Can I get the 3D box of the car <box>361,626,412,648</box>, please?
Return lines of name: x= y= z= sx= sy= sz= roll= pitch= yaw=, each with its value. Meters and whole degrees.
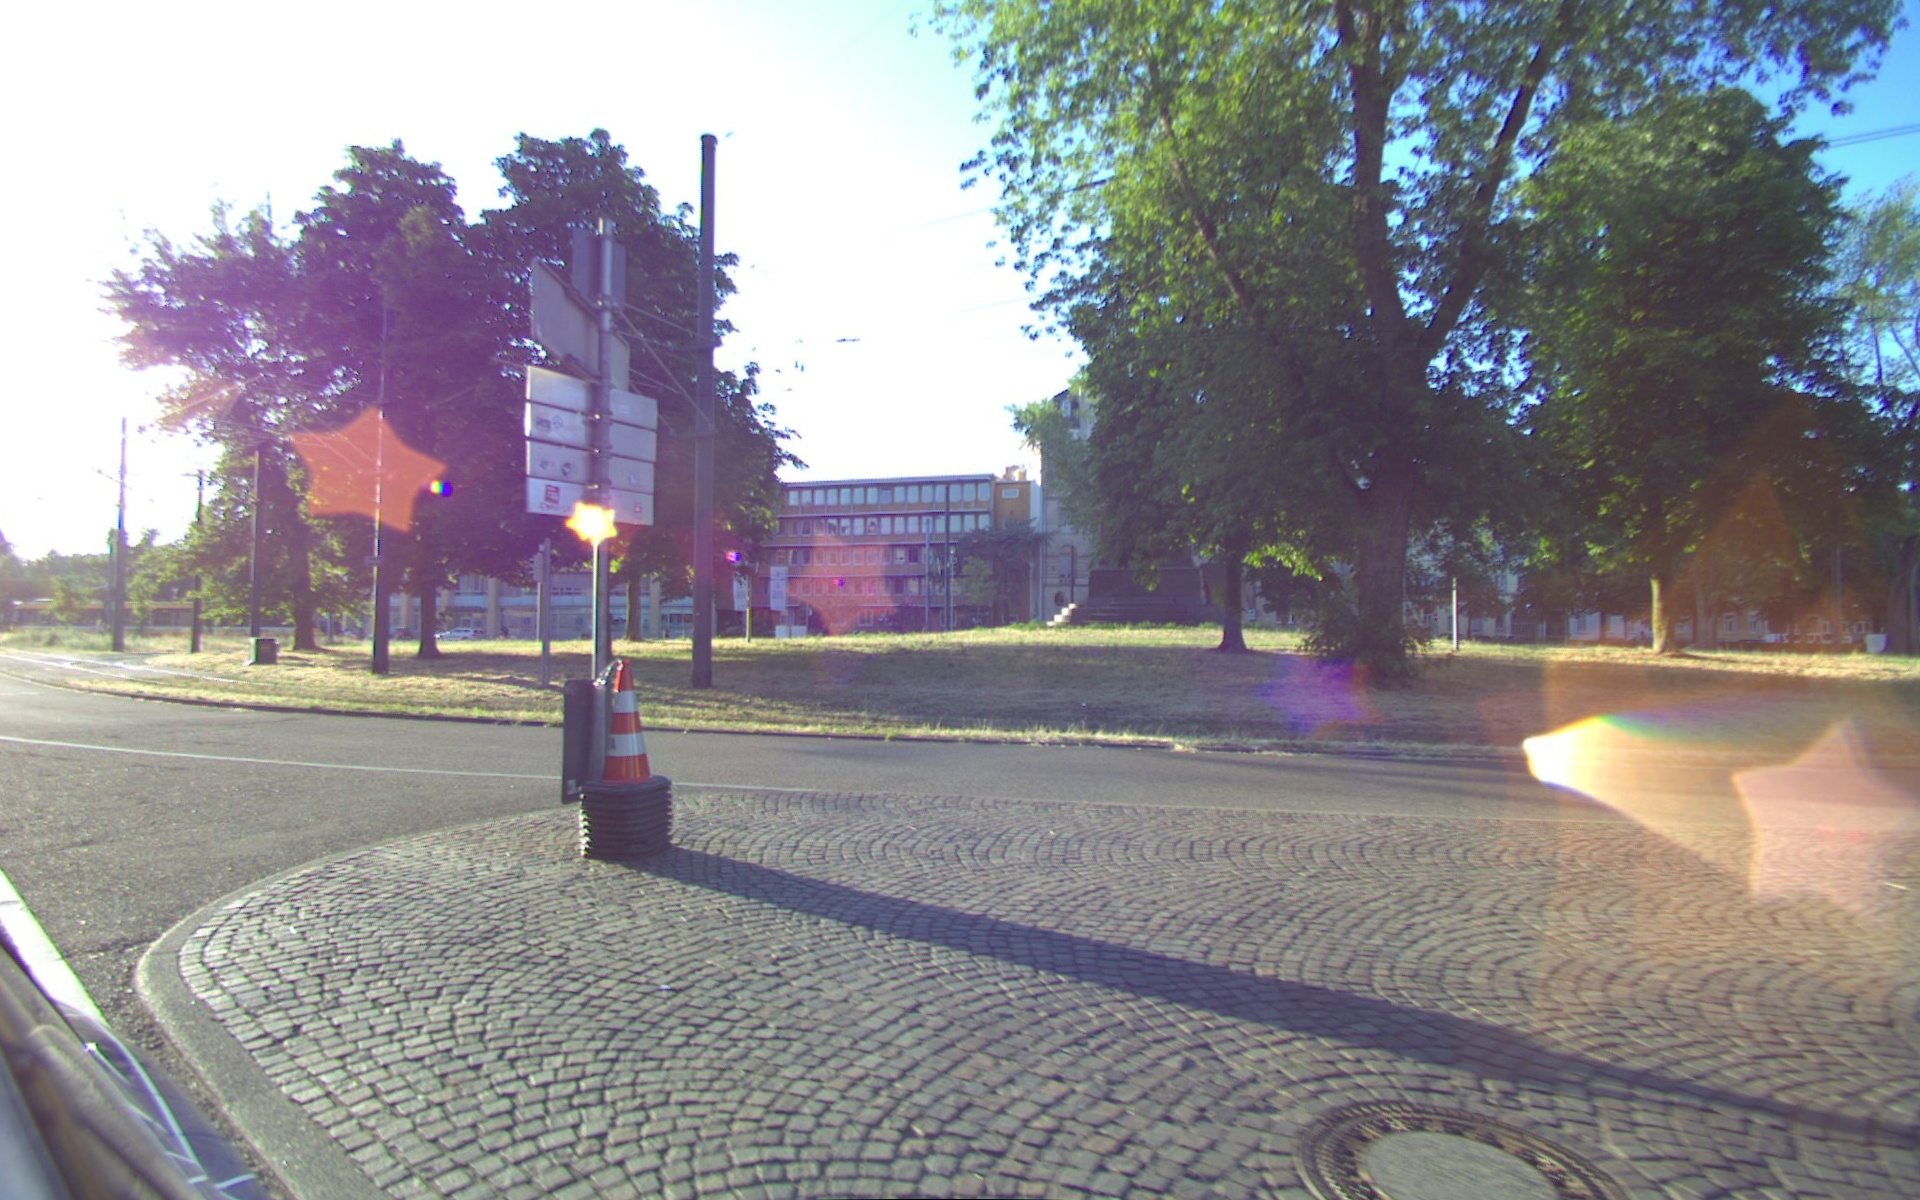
car: x=-54.767 y=3.565 z=96.664 sx=3.957 sy=2.029 sz=1.904 roll=-1 pitch=-1 yaw=11

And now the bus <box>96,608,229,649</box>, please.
bus: x=-69.416 y=2.493 z=88.117 sx=10.644 sy=3.356 sz=3.740 roll=-1 pitch=-1 yaw=17

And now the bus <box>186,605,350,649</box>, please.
bus: x=-57.803 y=2.260 z=84.502 sx=13.596 sy=3.388 sz=3.739 roll=-1 pitch=-1 yaw=17

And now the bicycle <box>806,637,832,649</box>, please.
bicycle: x=-11.969 y=3.633 z=85.846 sx=2.167 sy=1.019 sz=0.473 roll=-1 pitch=-1 yaw=-5

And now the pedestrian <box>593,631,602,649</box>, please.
pedestrian: x=-33.752 y=3.716 z=94.138 sx=0.614 sy=1.705 sz=0.527 roll=-1 pitch=-1 yaw=23

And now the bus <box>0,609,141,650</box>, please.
bus: x=-80.308 y=2.643 z=91.344 sx=12.024 sy=3.482 sz=3.741 roll=-1 pitch=-1 yaw=16

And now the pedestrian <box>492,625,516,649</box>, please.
pedestrian: x=-40.873 y=3.353 z=90.697 sx=1.616 sy=2.110 sz=1.056 roll=-1 pitch=-1 yaw=12

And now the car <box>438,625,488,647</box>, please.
car: x=-46.451 y=3.343 z=94.648 sx=3.869 sy=2.029 sz=1.849 roll=-1 pitch=-1 yaw=11

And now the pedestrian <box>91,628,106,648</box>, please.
pedestrian: x=-62.281 y=2.741 z=73.161 sx=0.698 sy=1.470 sz=0.664 roll=-2 pitch=-2 yaw=37

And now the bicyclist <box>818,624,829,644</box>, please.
bicyclist: x=-11.550 y=2.888 z=85.867 sx=0.884 sy=1.703 sz=0.954 roll=-1 pitch=-1 yaw=-5

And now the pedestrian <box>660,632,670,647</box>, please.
pedestrian: x=-26.975 y=3.602 z=92.407 sx=0.677 sy=1.334 sz=0.564 roll=-1 pitch=-1 yaw=16
